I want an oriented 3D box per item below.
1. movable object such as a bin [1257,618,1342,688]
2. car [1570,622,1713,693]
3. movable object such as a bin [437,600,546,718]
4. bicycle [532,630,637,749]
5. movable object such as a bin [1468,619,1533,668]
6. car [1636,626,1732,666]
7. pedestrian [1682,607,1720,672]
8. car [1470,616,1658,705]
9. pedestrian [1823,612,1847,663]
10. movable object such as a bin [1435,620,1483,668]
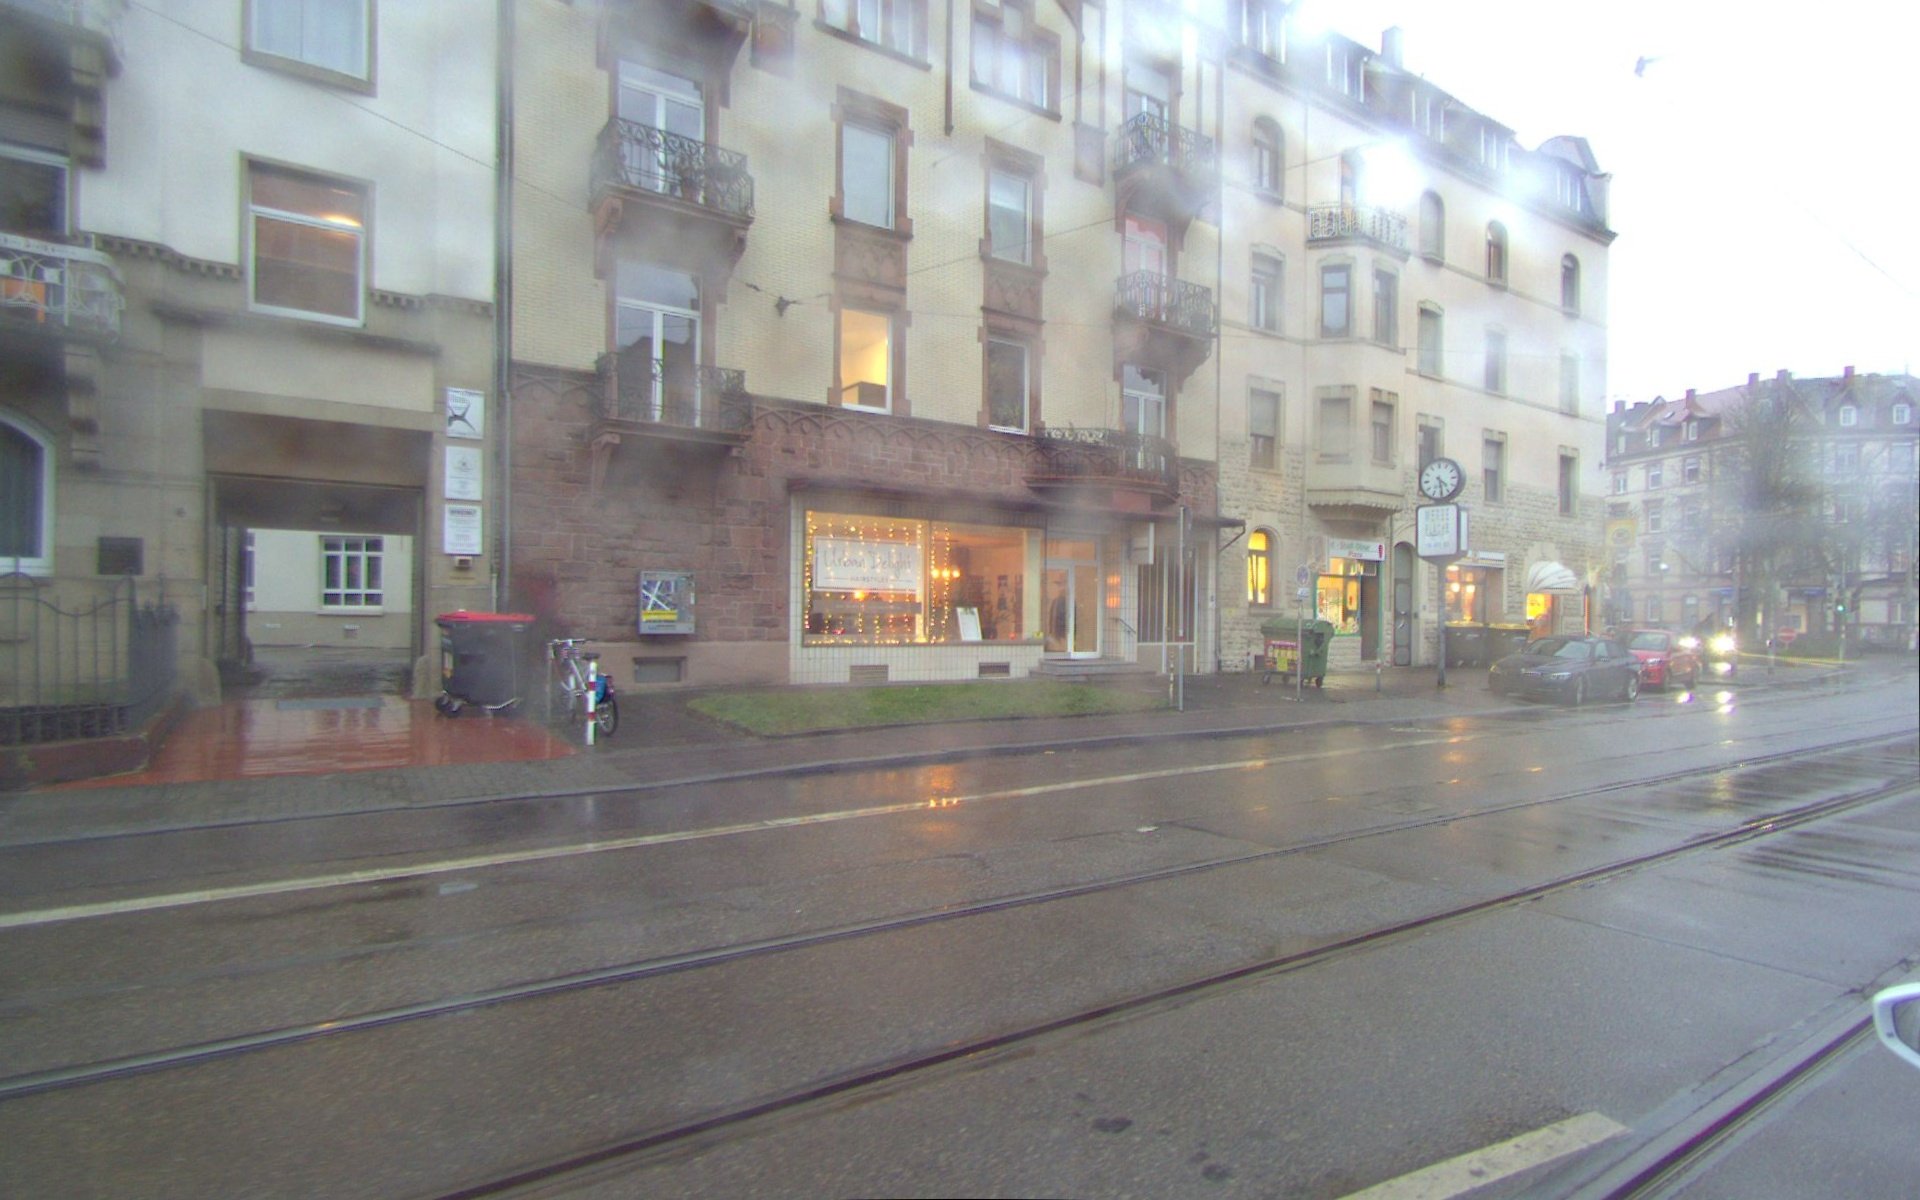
[{"bbox_3d":[7.374,1.121,21.849,1.236,1.439,1.260,1,0,-33],"label":"movable object such as a bin"},{"bbox_3d":[18.103,1.457,26.638,3.997,1.573,2.021,1,3,-39],"label":"car"},{"bbox_3d":[-6.116,0.735,13.089,1.155,1.398,1.096,1,2,-32],"label":"movable object such as a bin"},{"bbox_3d":[-4.424,0.976,11.718,0.687,1.120,2.336,1,1,-32],"label":"bicycle"},{"bbox_3d":[16.273,1.293,30.260,1.239,1.385,1.286,1,0,-34],"label":"movable object such as a bin"},{"bbox_3d":[33.263,2.062,46.273,1.981,1.695,4.003,1,-1,9],"label":"car"},{"bbox_3d":[23.606,1.257,32.002,0.635,2.040,0.758,1,0,3],"label":"pedestrian"},{"bbox_3d":[13.805,1.326,22.865,4.587,1.667,1.972,2,3,-37],"label":"car"},{"bbox_3d":[35.428,1.513,40.672,0.695,2.040,0.658,0,-1,37],"label":"pedestrian"},{"bbox_3d":[14.856,1.295,29.892,0.996,1.396,0.893,1,0,-33],"label":"movable object such as a bin"}]
